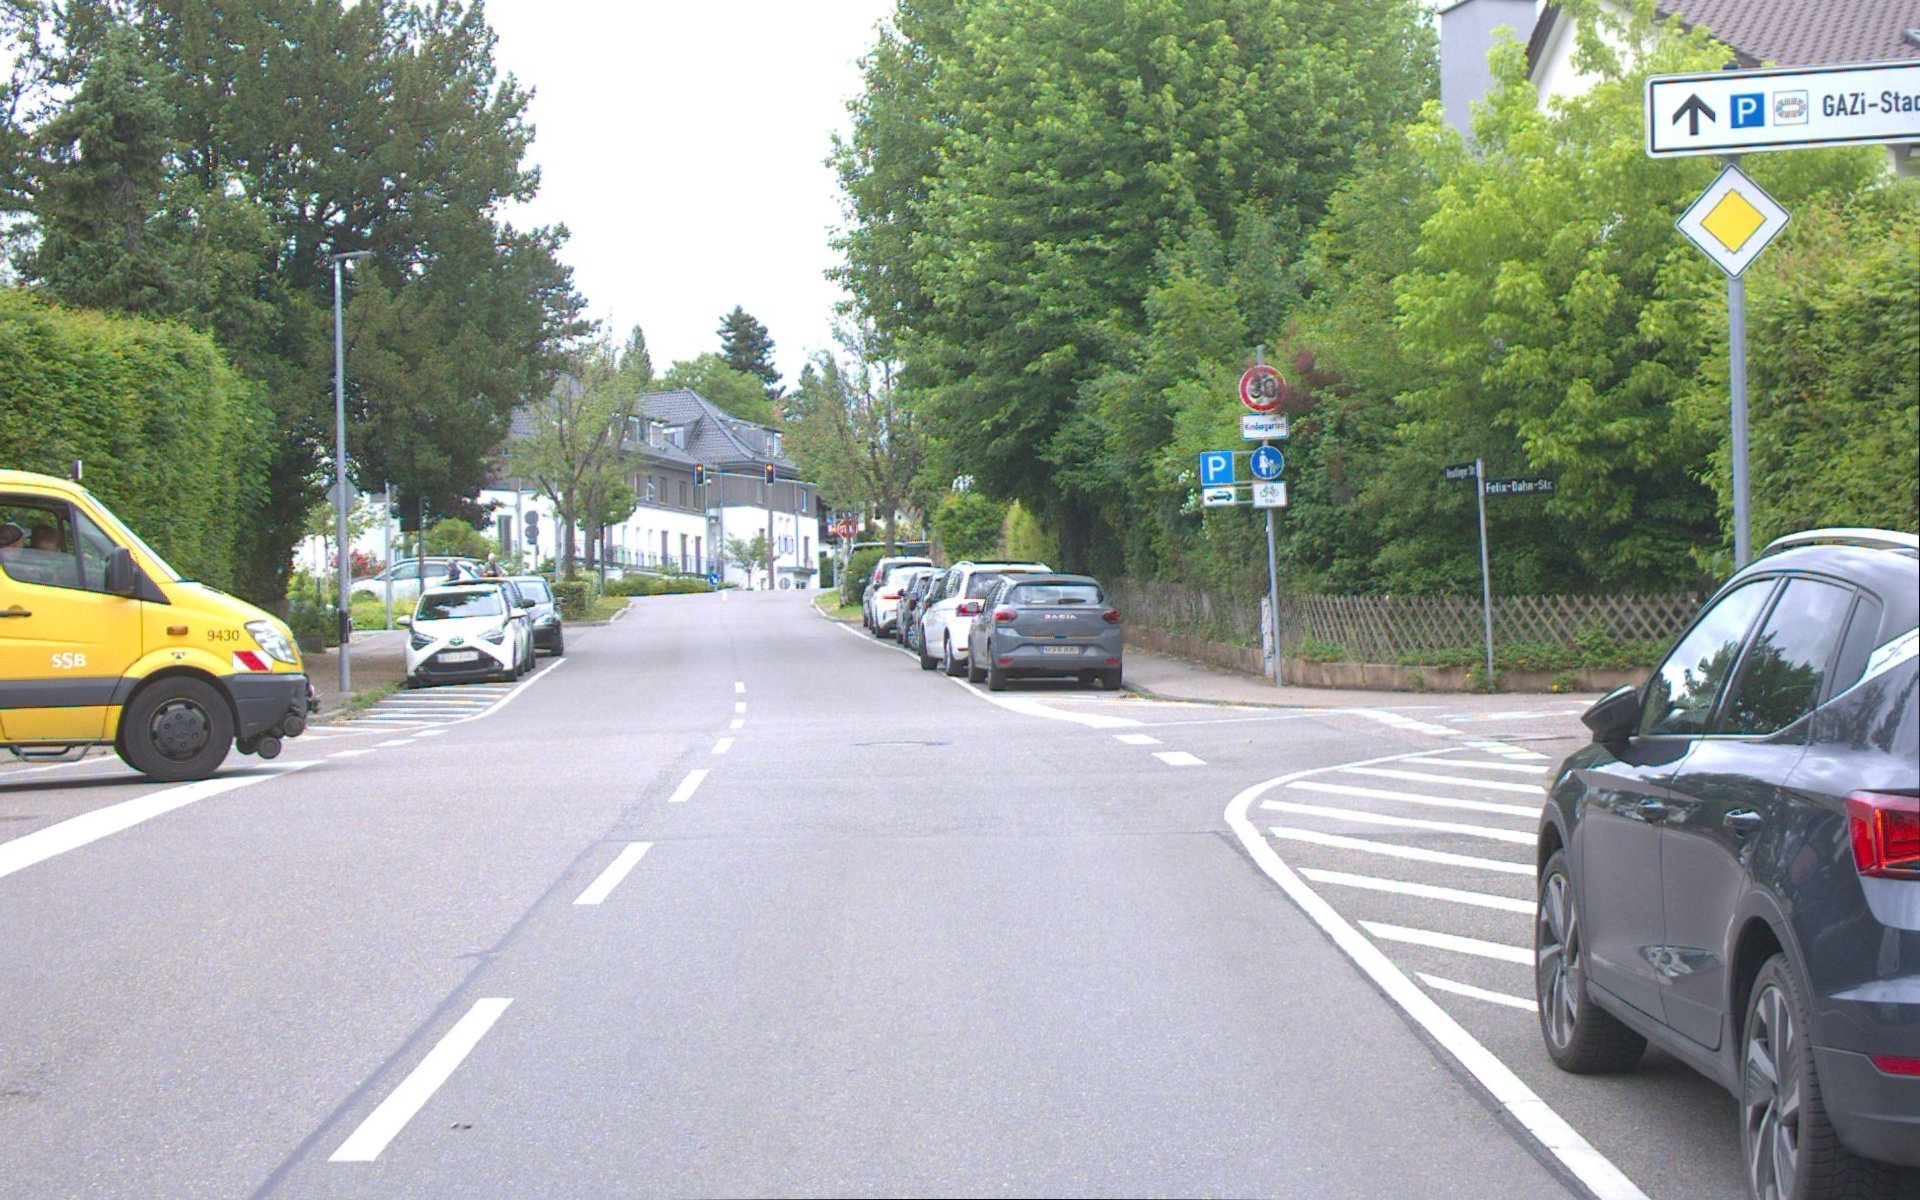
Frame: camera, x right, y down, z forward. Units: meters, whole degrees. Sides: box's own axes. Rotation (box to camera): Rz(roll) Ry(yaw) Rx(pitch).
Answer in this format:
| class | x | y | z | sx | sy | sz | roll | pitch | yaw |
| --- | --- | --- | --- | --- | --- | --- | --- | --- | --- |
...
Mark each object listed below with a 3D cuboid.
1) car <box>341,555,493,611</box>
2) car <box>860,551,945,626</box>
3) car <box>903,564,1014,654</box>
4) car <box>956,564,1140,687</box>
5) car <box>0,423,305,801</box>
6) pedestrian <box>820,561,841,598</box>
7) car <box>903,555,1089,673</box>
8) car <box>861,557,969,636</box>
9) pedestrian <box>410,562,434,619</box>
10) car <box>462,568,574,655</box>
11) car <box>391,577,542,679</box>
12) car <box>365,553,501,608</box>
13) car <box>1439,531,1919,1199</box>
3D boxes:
| class | x | y | z | sx | sy | sz | roll | pitch | yaw |
| --- | --- | --- | --- | --- | --- | --- | --- | --- | --- |
| car | -16.496 | -0.529 | 104.674 | 4.386 | 1.561 | 2.067 | -2 | 1 | -5 |
| car | -1.330 | -0.281 | 77.537 | 1.716 | 1.627 | 3.929 | 0 | 1 | -4 |
| car | -0.060 | 0.142 | 60.937 | 1.697 | 1.503 | 4.161 | 1 | 1 | -4 |
| car | 1.134 | 0.304 | 46.392 | 1.937 | 1.486 | 4.457 | -2 | 1 | -5 |
| car | -8.036 | 0.137 | 24.808 | 6.122 | 2.592 | 2.369 | -2 | 1 | -20 |
| pedestrian | -5.906 | -0.929 | 156.538 | 0.685 | 1.676 | 0.699 | -1 | 1 | 27 |
| car | 0.475 | 0.162 | 51.304 | 2.000 | 1.603 | 4.760 | -2 | 1 | -8 |
| car | -0.972 | -0.098 | 71.682 | 1.993 | 1.486 | 5.005 | -2 | 1 | -3 |
| pedestrian | -15.723 | -0.285 | 100.443 | 0.593 | 1.635 | 0.565 | -2 | 1 | -3 |
| car | -8.145 | 0.184 | 63.643 | 1.850 | 1.464 | 4.684 | -2 | 1 | -5 |
| car | -7.356 | 0.398 | 51.508 | 1.744 | 1.443 | 3.513 | -1 | 0 | 0 |
| car | -16.437 | -0.629 | 107.325 | 3.986 | 1.648 | 2.009 | -1 | 1 | -3 |
| car | 2.457 | 0.589 | 8.653 | 1.790 | 1.483 | 4.379 | -2 | 1 | -1 |
